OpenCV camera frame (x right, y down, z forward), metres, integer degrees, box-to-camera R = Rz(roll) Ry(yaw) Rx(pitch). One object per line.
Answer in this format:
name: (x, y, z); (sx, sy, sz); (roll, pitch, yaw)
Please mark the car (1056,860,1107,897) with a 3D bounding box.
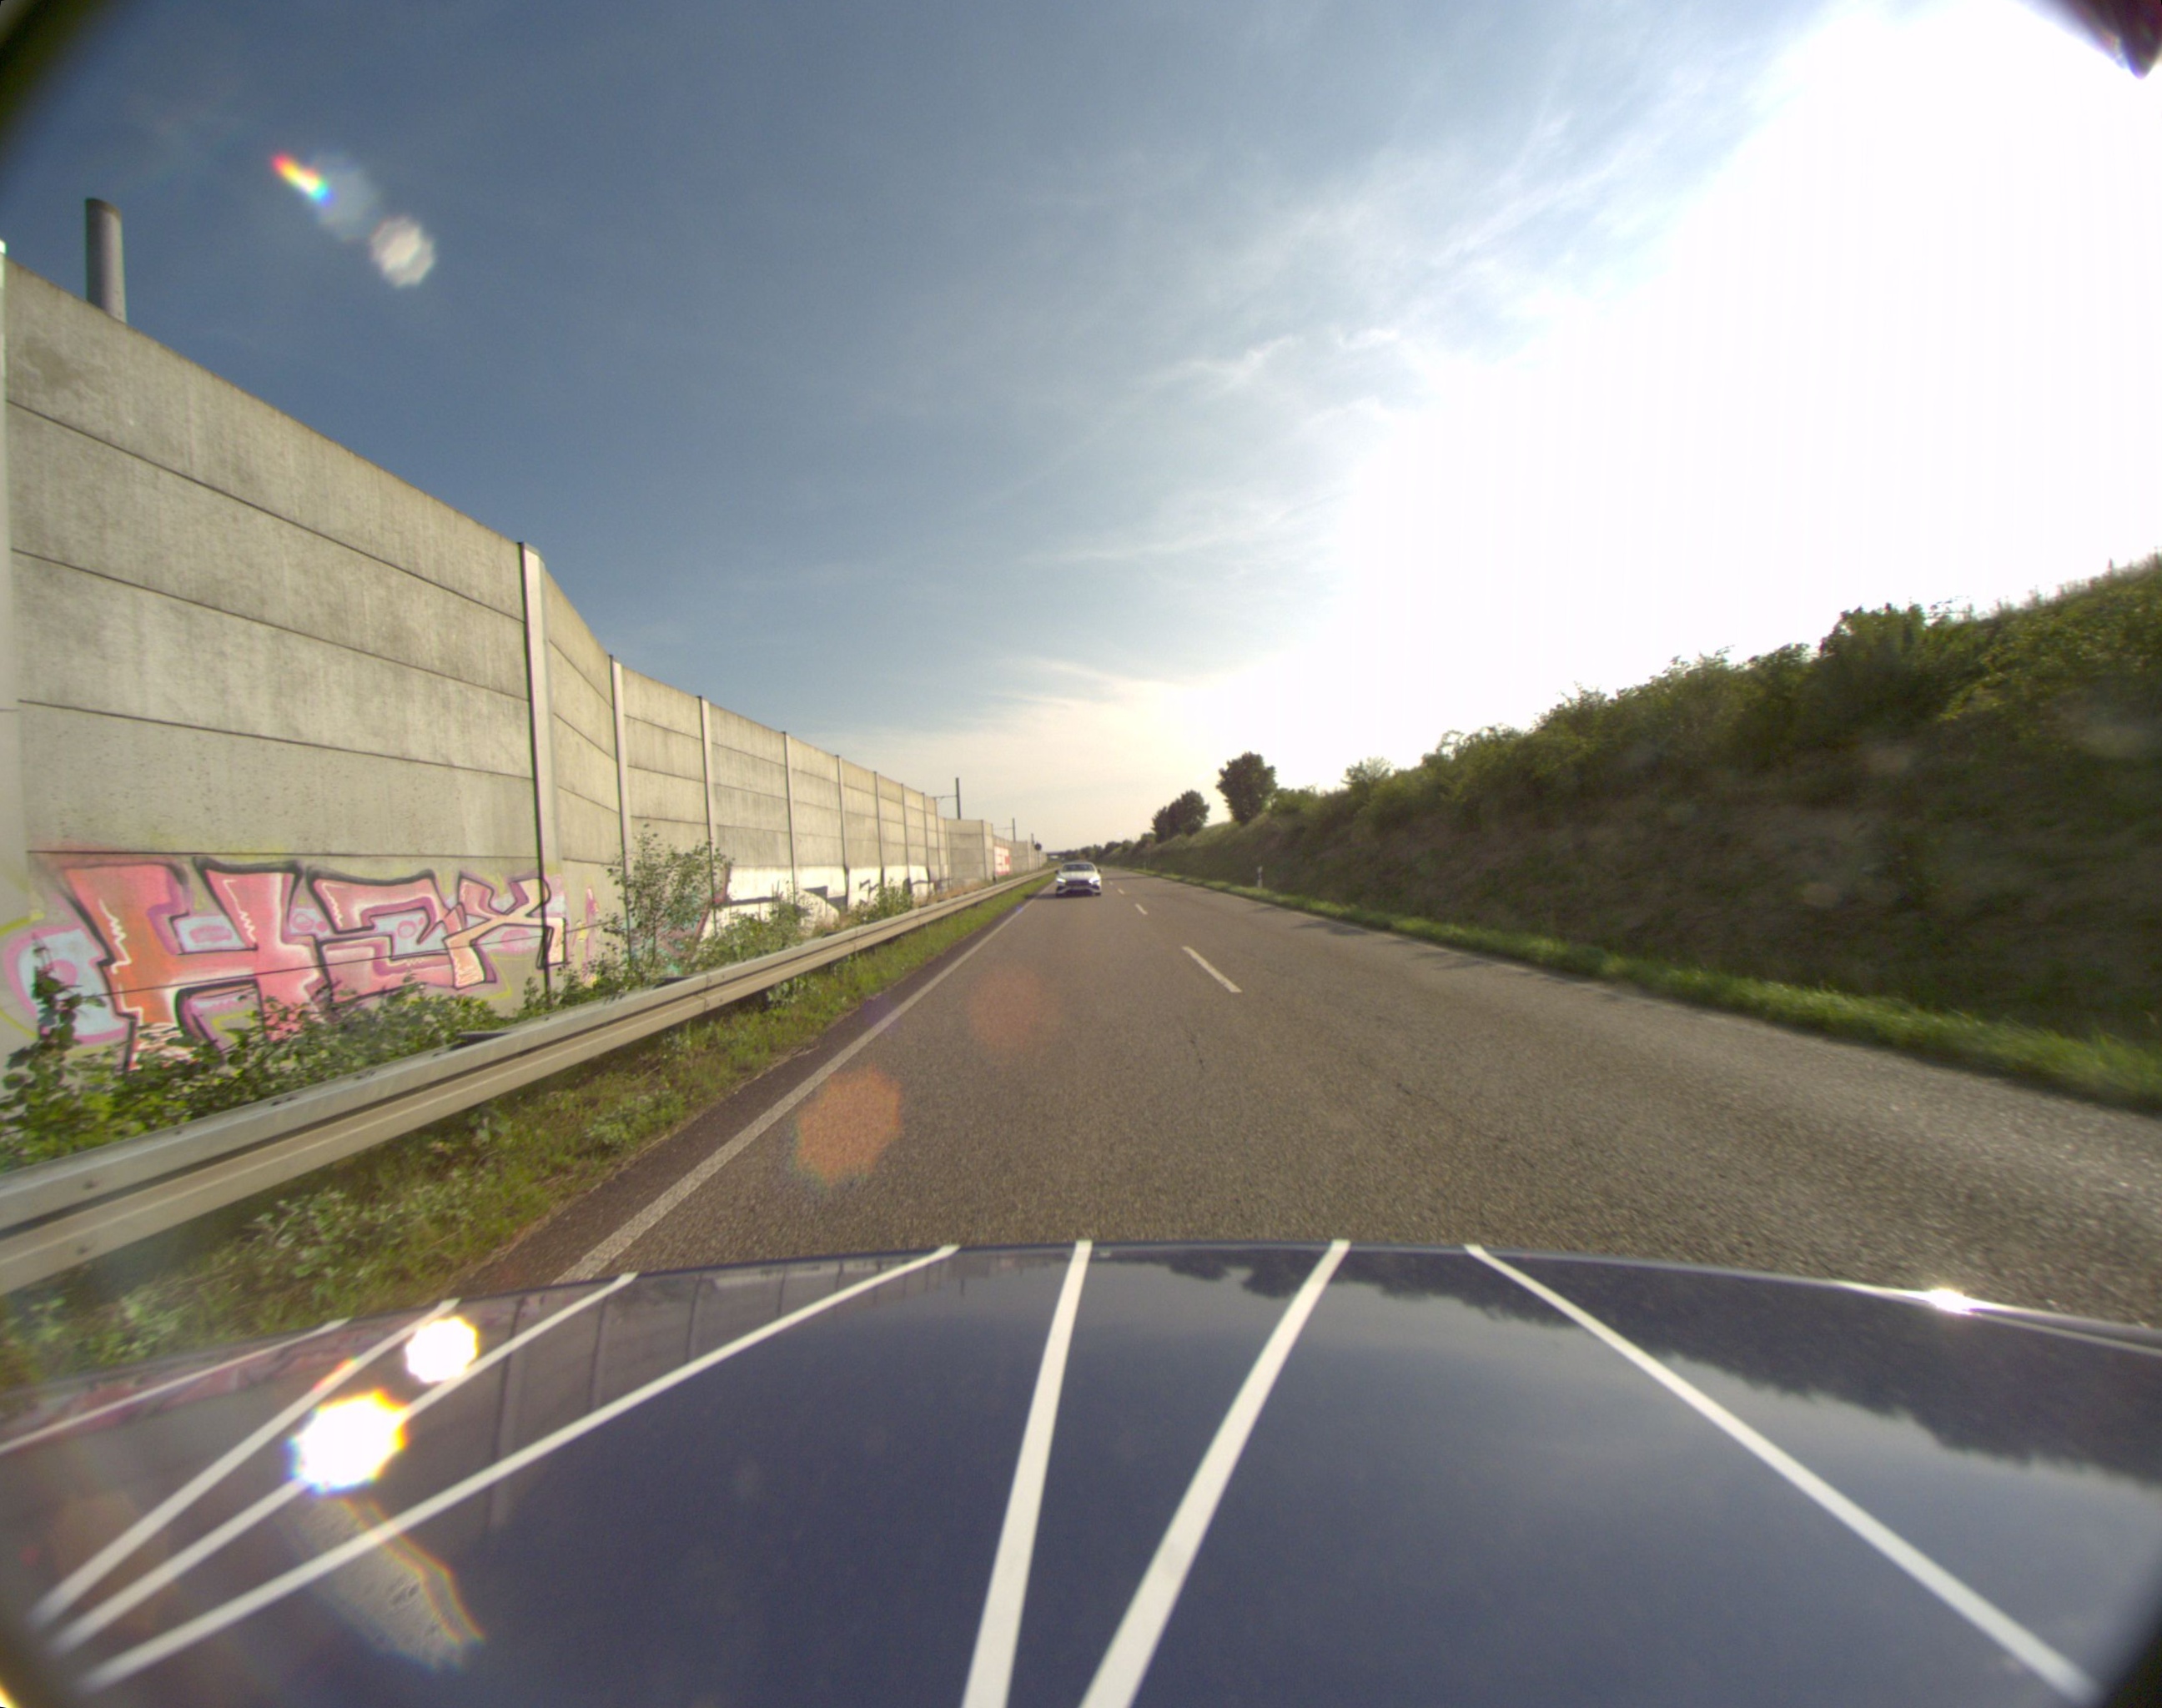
car: (-0.075, 1.026, 32.967); (1.930, 1.398, 4.973); (-3, -1, -3)
